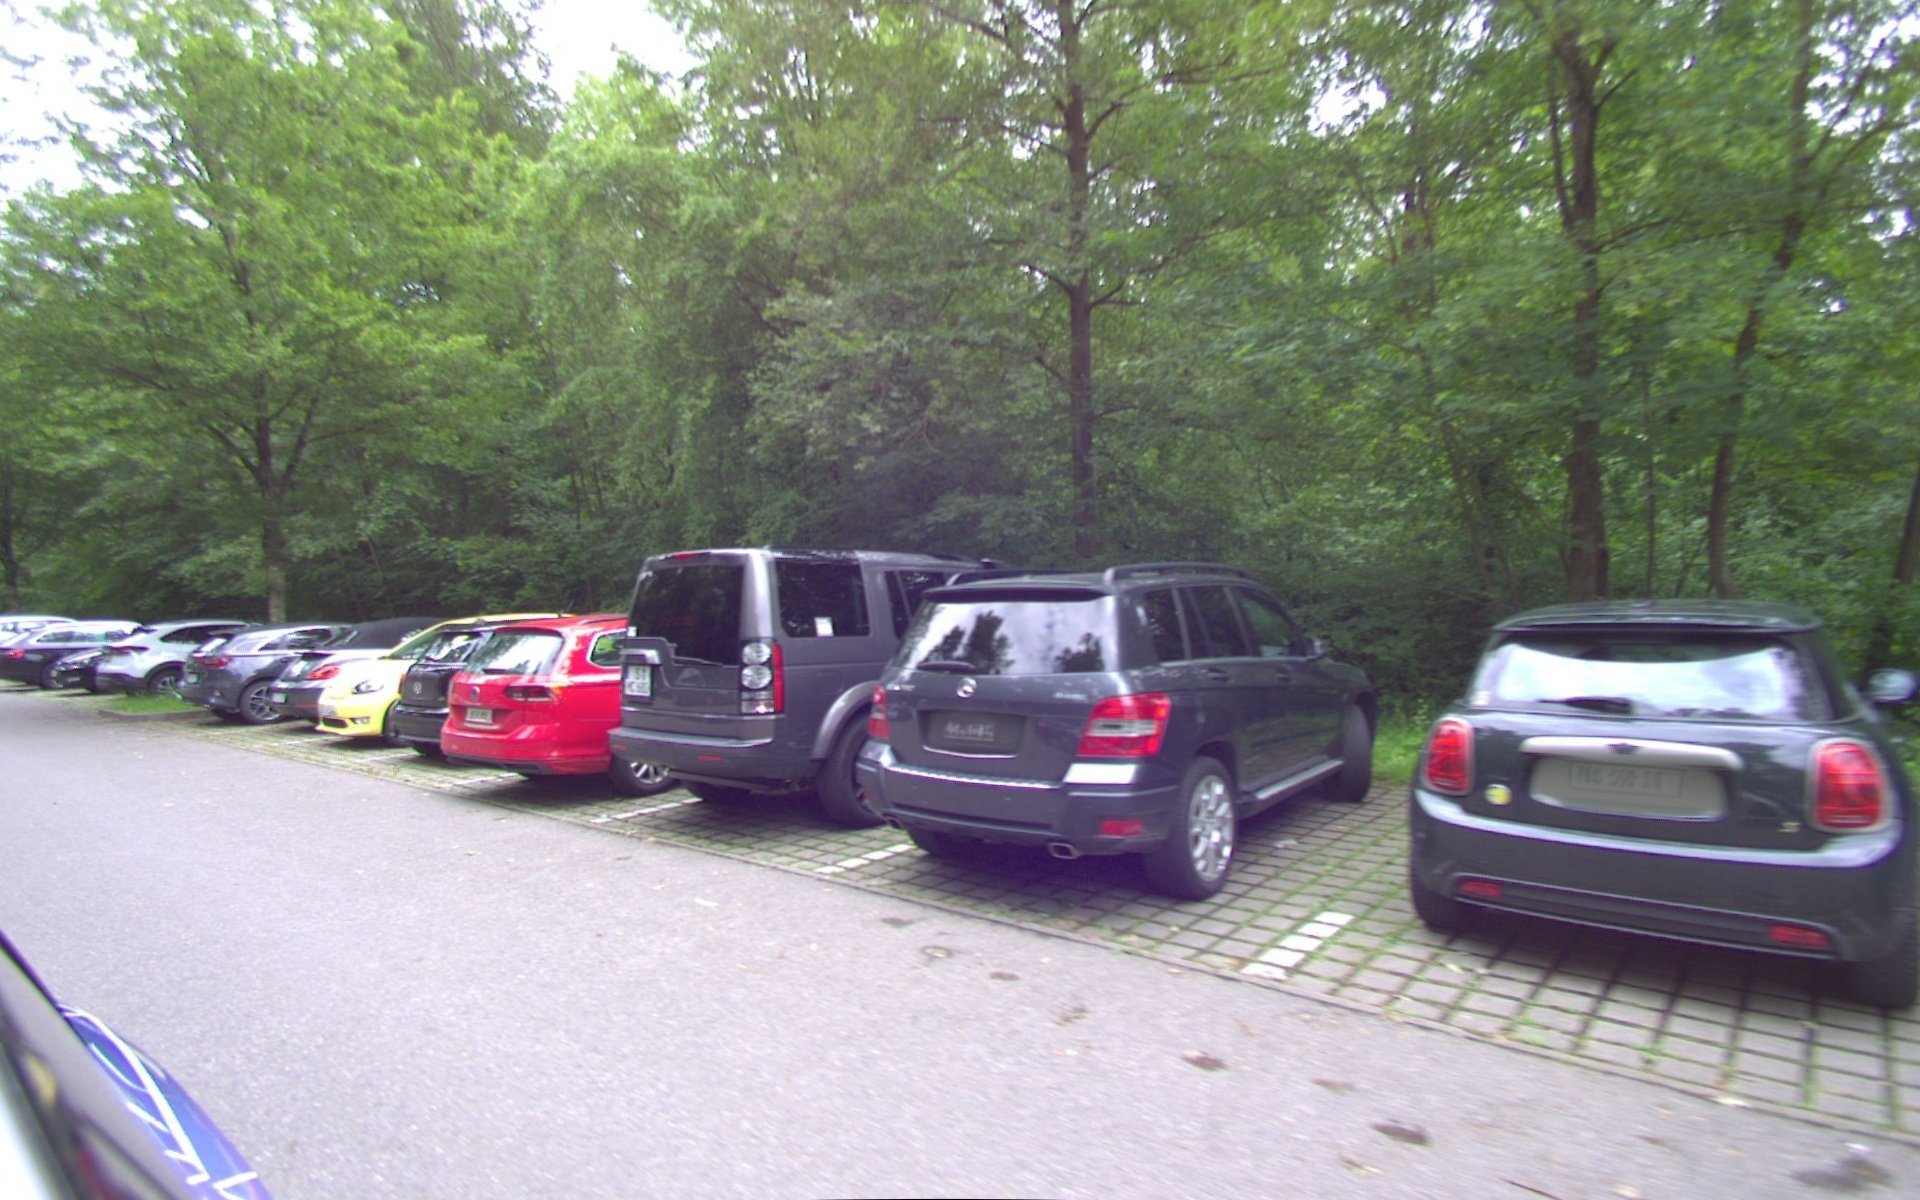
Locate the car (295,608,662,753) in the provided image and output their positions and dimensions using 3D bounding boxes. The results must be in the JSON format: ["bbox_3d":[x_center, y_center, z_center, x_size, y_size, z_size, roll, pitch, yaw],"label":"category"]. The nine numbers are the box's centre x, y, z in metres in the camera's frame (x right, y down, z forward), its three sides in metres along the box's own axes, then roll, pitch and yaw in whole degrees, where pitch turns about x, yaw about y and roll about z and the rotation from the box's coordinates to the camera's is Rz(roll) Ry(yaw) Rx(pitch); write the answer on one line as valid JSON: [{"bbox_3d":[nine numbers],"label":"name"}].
[{"bbox_3d":[-6.023,0.901,13.048,1.616,1.449,3.948,-2,0,39],"label":"car"}]

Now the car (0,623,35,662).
[{"bbox_3d":[-39.282,1.725,39.900,1.769,1.527,3.947,-1,-1,39],"label":"car"}]

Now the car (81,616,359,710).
[{"bbox_3d":[-13.889,1.109,19.178,1.713,1.478,3.948,-2,0,39],"label":"car"}]

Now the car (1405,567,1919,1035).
[{"bbox_3d":[3.749,0.595,5.075,1.719,1.441,3.947,-2,0,40],"label":"car"}]

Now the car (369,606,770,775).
[{"bbox_3d":[-4.220,0.869,11.485,1.669,1.449,3.950,-2,0,37],"label":"car"}]

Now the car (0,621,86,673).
[{"bbox_3d":[-31.679,1.540,33.476,1.694,1.675,3.949,-1,-1,38],"label":"car"}]

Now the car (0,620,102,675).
[{"bbox_3d":[-29.778,1.489,31.906,1.813,1.675,3.946,-1,-1,40],"label":"car"}]

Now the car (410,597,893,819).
[{"bbox_3d":[-2.594,0.784,9.314,1.777,1.487,3.950,-2,0,37],"label":"car"}]

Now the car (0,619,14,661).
[{"bbox_3d":[-43.080,1.752,43.058,1.816,1.828,3.948,-1,-1,39],"label":"car"}]

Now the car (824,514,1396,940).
[{"bbox_3d":[1.224,0.502,6.356,1.821,1.779,3.949,-2,0,38],"label":"car"}]

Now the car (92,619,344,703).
[{"bbox_3d":[-15.357,1.195,21.100,1.701,1.446,3.946,-2,0,41],"label":"car"}]

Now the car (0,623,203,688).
[{"bbox_3d":[-21.904,1.360,25.767,1.647,1.446,3.945,-2,-1,41],"label":"car"}]

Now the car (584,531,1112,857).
[{"bbox_3d":[-0.629,0.511,7.938,1.811,1.876,3.948,-2,0,39],"label":"car"}]

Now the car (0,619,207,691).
[{"bbox_3d":[-20.399,1.237,23.877,1.676,1.446,3.946,-2,0,41],"label":"car"}]

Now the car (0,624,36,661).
[{"bbox_3d":[-41.283,1.783,42.126,1.816,1.527,3.947,-1,-1,39],"label":"car"}]

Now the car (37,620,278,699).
[{"bbox_3d":[-17.647,1.237,22.390,1.676,1.446,3.946,-2,0,41],"label":"car"}]

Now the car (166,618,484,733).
[{"bbox_3d":[-9.992,1.092,16.158,1.713,1.449,3.948,-2,0,39],"label":"car"}]

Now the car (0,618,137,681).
[{"bbox_3d":[-26.104,1.371,28.759,1.812,1.675,3.949,-1,-1,38],"label":"car"}]

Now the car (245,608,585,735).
[{"bbox_3d":[-7.721,0.918,14.637,1.732,1.449,3.948,-2,0,39],"label":"car"}]
